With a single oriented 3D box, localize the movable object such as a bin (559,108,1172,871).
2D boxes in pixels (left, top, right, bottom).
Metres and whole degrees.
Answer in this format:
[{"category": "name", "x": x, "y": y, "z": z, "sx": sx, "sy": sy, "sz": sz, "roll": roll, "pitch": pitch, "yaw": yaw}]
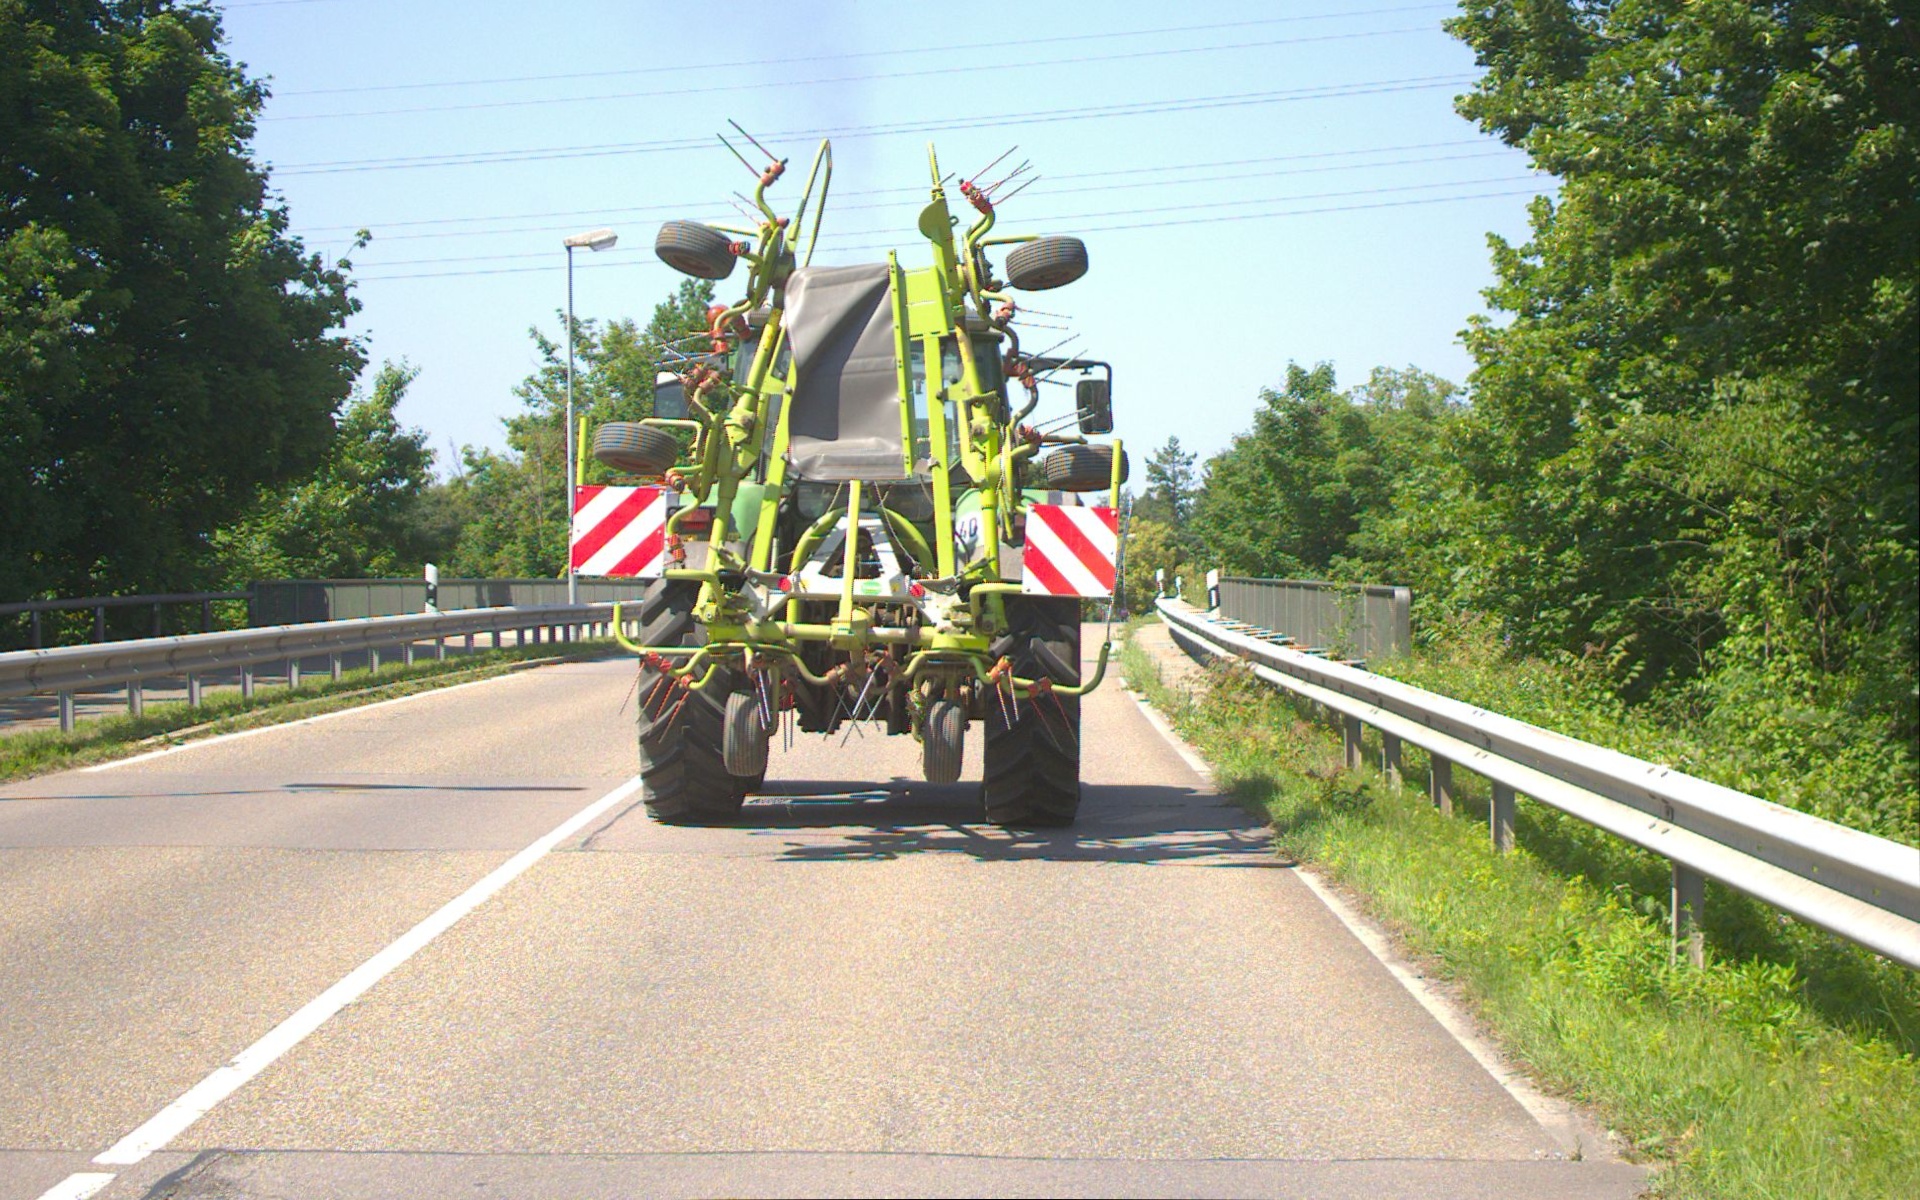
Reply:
[{"category": "movable object such as a bin", "x": -0.475, "y": -0.547, "z": 18.348, "sx": 2.755, "sy": 3.432, "sz": 5.670, "roll": 0, "pitch": 1, "yaw": -1}]
